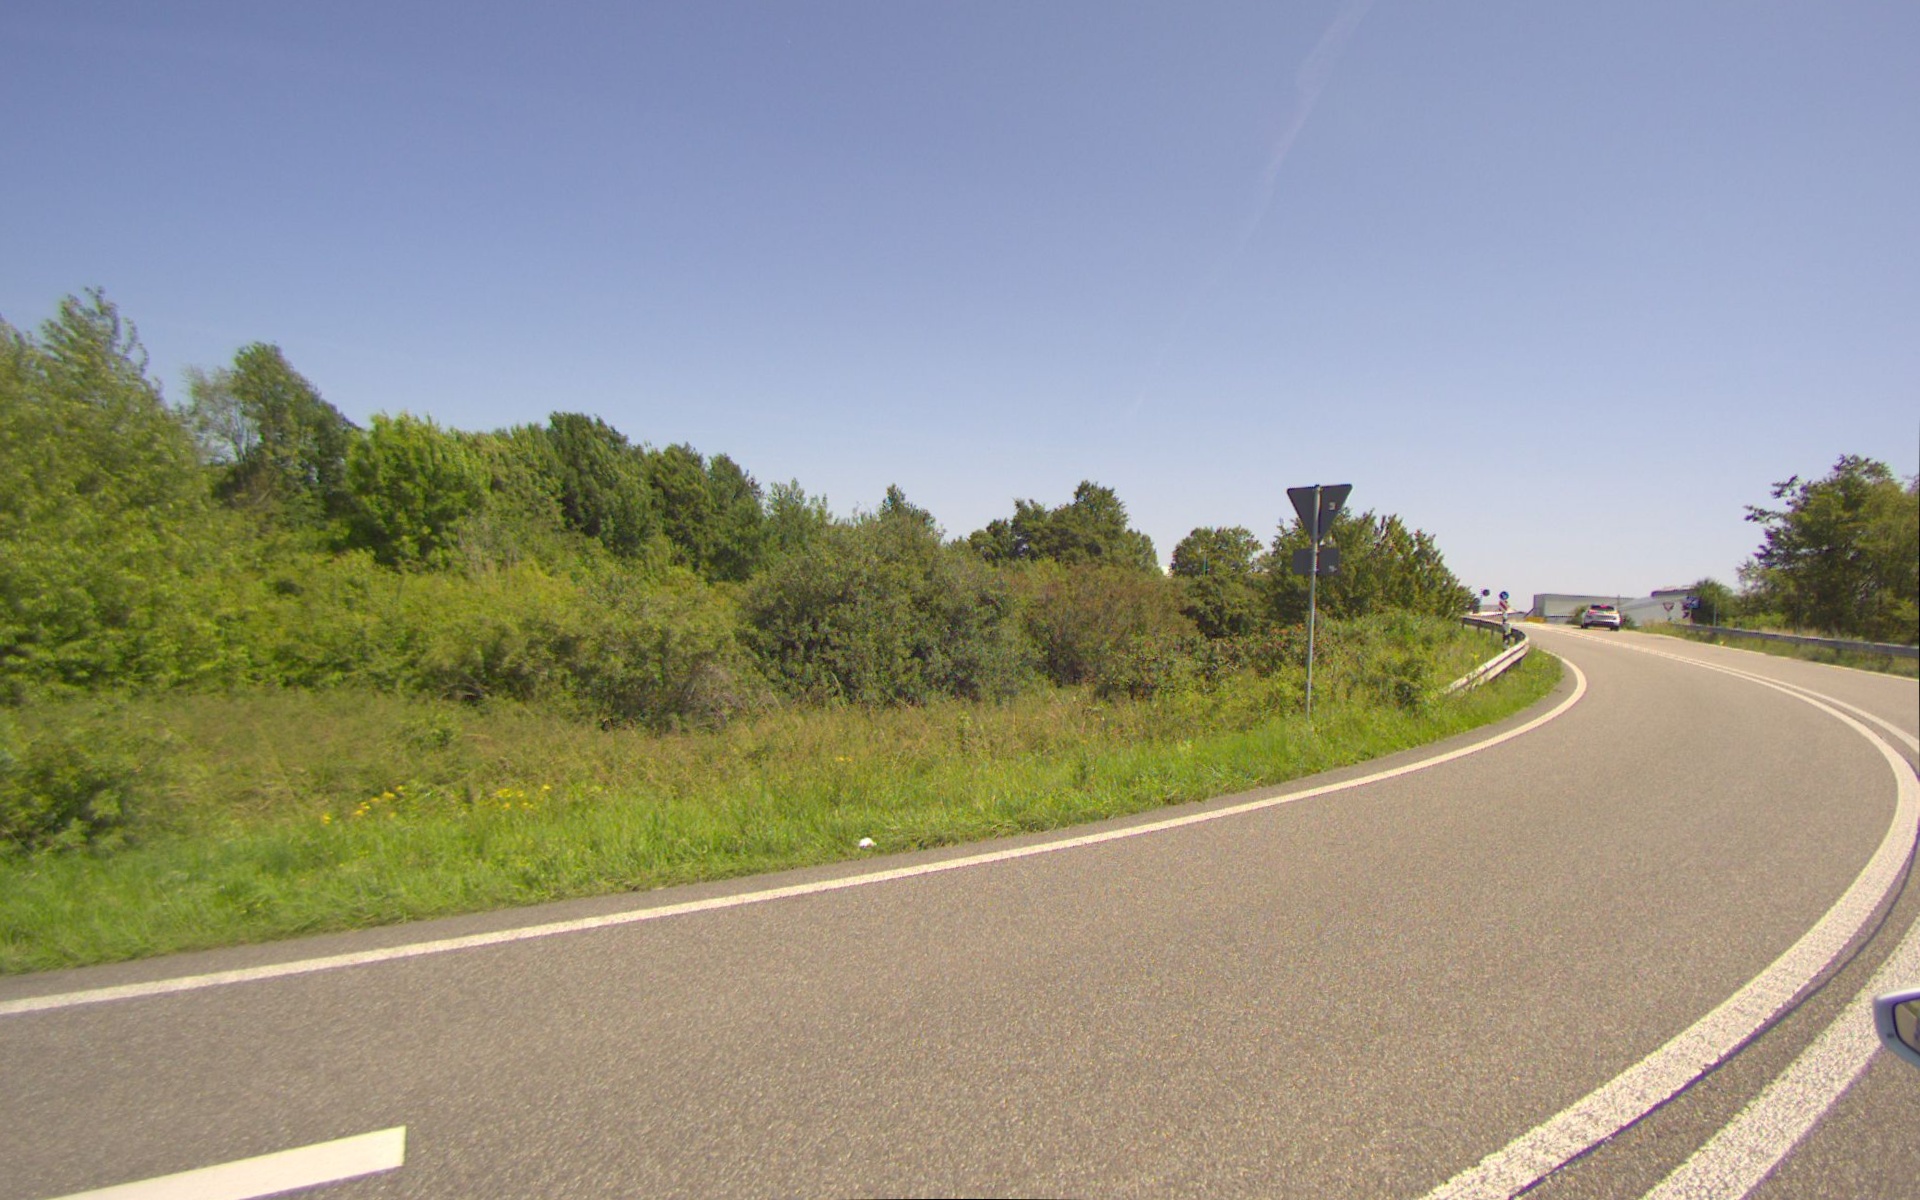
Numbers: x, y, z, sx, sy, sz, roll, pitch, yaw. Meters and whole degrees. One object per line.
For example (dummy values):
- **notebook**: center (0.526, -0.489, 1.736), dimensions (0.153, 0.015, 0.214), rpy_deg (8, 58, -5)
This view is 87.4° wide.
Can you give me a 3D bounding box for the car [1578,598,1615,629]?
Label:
- **car**: center (38.935, 0.857, 61.508), dimensions (1.783, 1.713, 3.991), rpy_deg (2, -1, 32)
